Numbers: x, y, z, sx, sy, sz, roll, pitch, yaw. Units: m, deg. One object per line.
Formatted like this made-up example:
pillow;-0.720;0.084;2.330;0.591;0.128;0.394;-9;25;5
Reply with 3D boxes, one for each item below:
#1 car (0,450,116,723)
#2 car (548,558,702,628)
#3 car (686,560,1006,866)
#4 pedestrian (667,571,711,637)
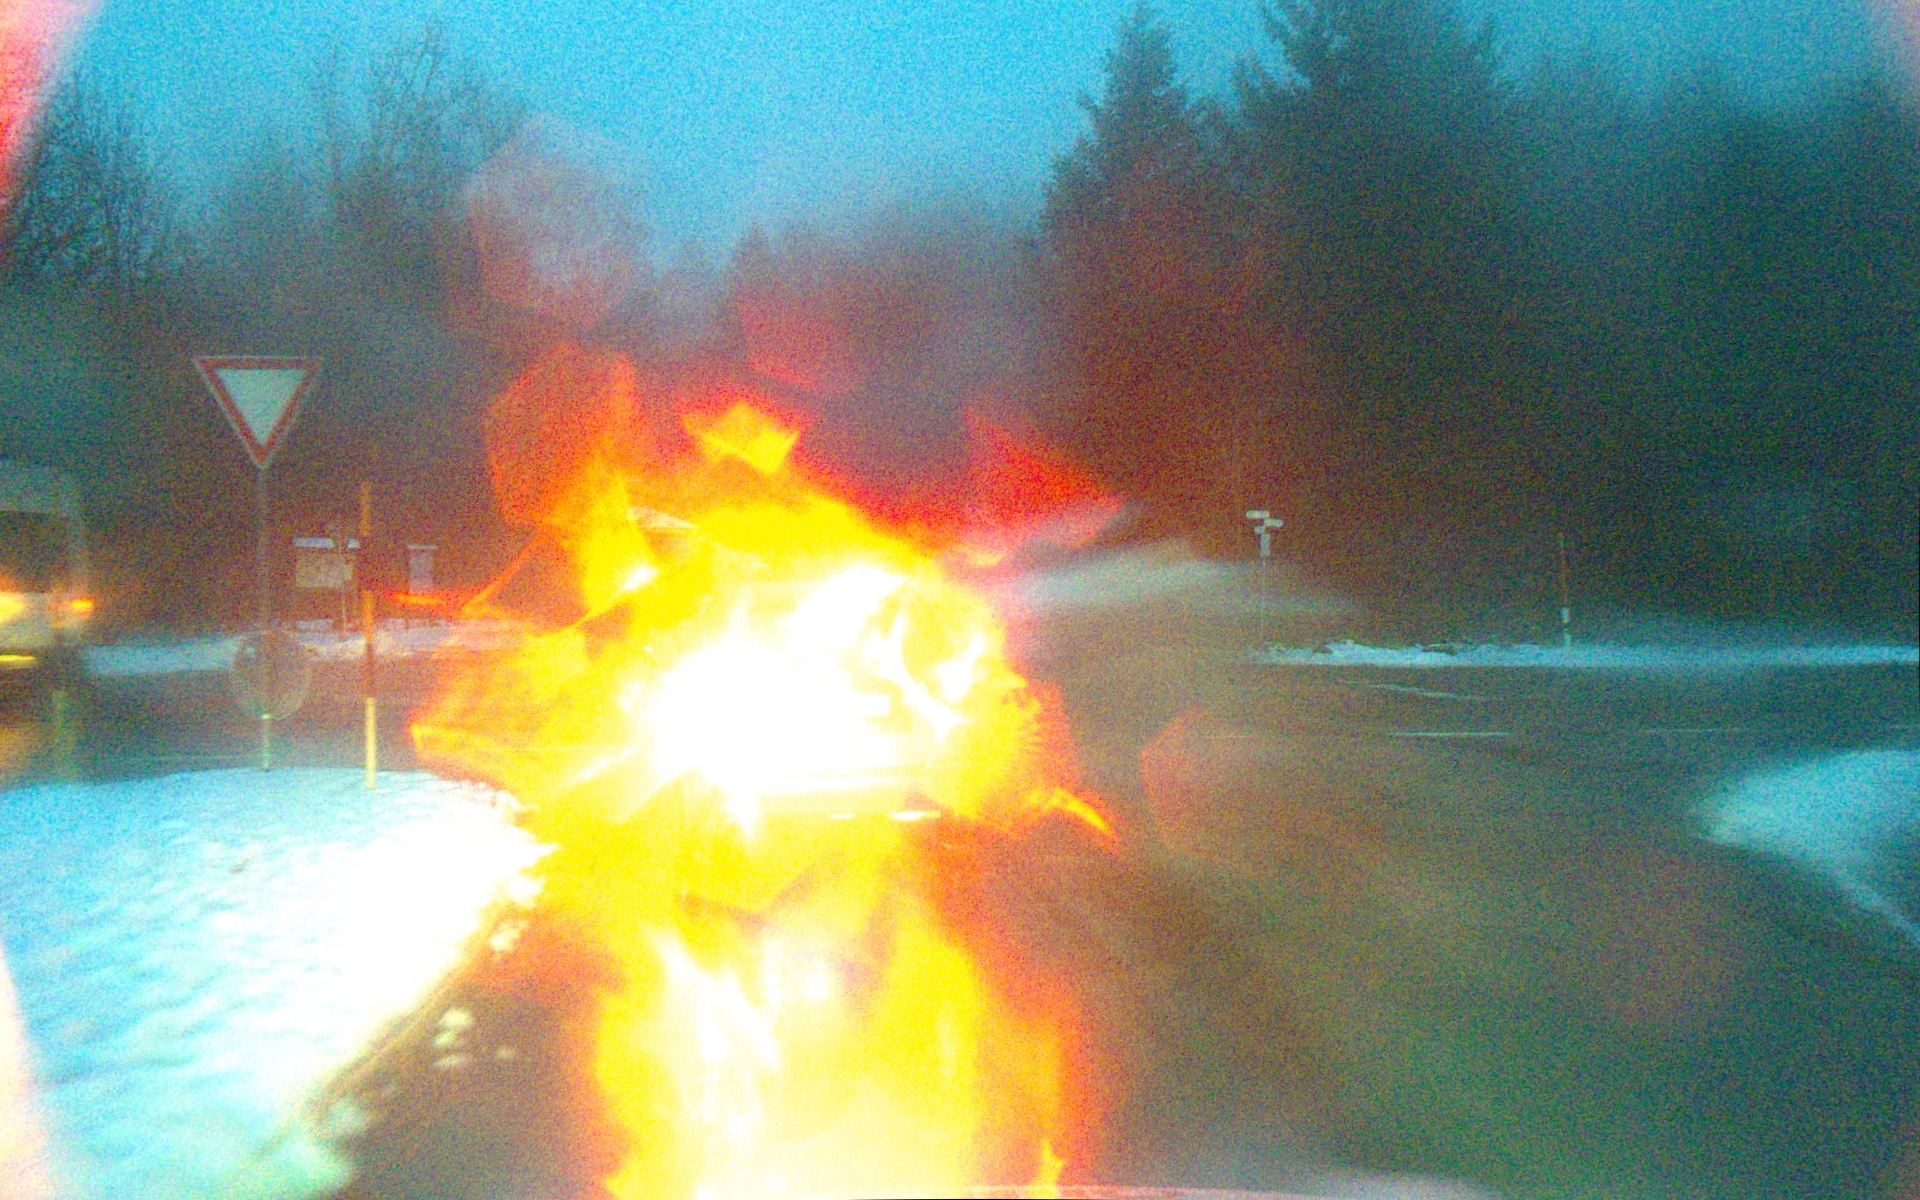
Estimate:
car;-12.258;-0.176;17.657;5.394;2.743;2.154;1;-1;5
car;-9.637;-0.192;47.748;3.863;1.914;2.001;1;-1;7
car;-0.867;0.571;10.559;1.661;1.579;3.848;1;0;-9
pedestrian;-7.703;0.108;47.053;0.940;1.860;0.926;1;-1;12
